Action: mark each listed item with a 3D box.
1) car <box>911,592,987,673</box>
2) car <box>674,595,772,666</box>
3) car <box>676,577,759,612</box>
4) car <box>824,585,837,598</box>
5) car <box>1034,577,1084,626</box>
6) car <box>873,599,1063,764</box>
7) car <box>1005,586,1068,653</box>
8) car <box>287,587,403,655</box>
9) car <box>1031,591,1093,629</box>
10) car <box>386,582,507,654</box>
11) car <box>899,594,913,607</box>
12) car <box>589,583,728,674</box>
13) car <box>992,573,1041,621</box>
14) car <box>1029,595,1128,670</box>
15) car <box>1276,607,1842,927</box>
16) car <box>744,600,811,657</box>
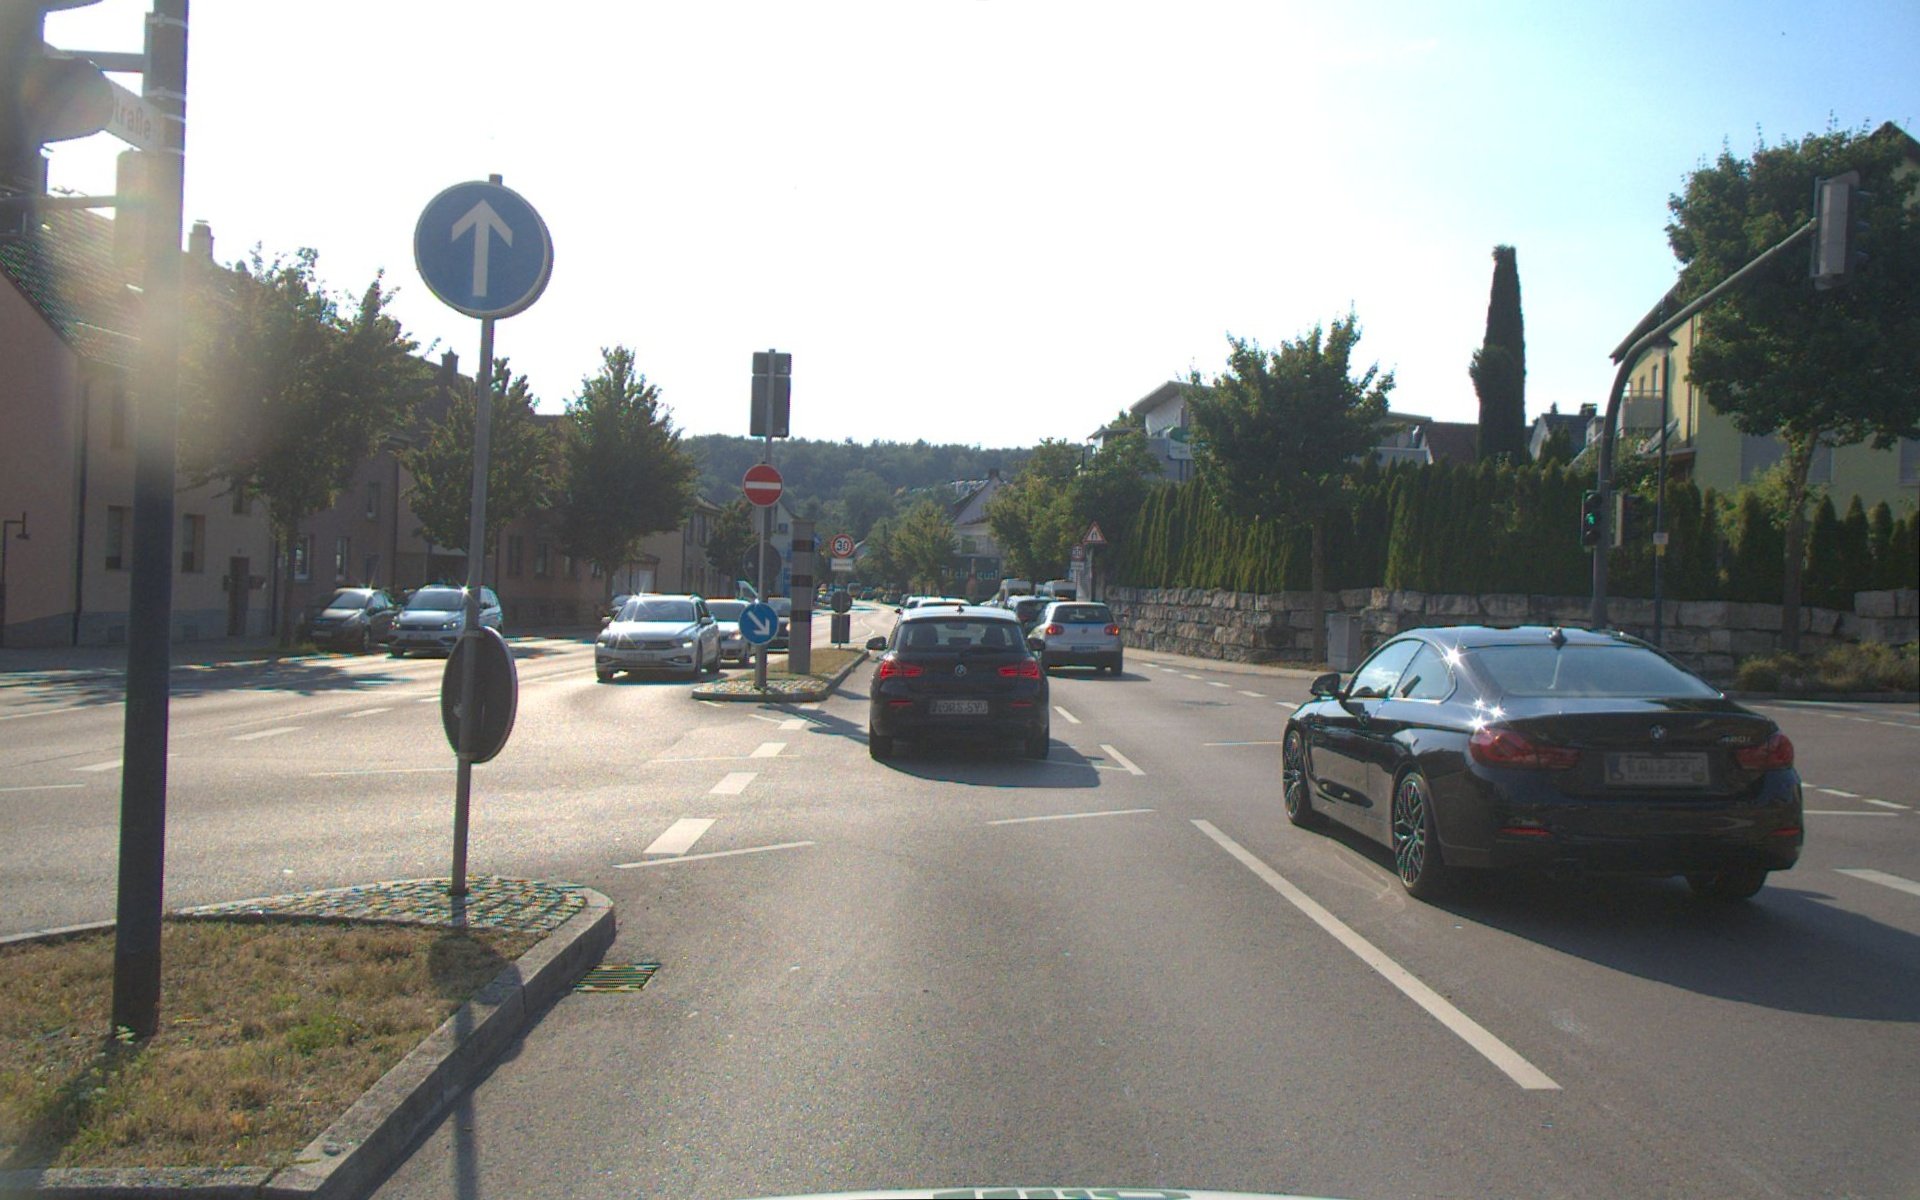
[{"bbox_3d":[-0.279,0.669,36.409,1.559,1.628,3.892,1,1,-2],"label":"car"},{"bbox_3d":[-5.135,0.639,36.154,1.556,1.452,3.578,1,0,1],"label":"car"},{"bbox_3d":[-18.628,-0.403,127.204,6.036,2.487,2.248,2,0,-3],"label":"car"},{"bbox_3d":[-16.131,-1.054,205.878,1.565,1.511,3.472,2,0,-4],"label":"car"},{"bbox_3d":[5.851,0.062,98.289,2.070,2.769,6.437,1,1,-5],"label":"car"},{"bbox_3d":[0.016,0.743,16.881,1.736,1.482,3.514,0,0,-2],"label":"car"},{"bbox_3d":[2.133,0.511,46.741,1.570,1.798,3.410,1,0,-1],"label":"car"},{"bbox_3d":[-15.254,0.474,41.203,1.482,1.537,3.884,3,0,-2],"label":"car"},{"bbox_3d":[4.674,0.428,76.411,1.801,1.678,4.527,1,0,-10],"label":"car"},{"bbox_3d":[-12.485,0.407,40.474,1.651,1.640,4.412,1,0,-2],"label":"car"},{"bbox_3d":[-6.346,0.031,193.937,1.565,1.511,3.472,2,0,-4],"label":"car"},{"bbox_3d":[-5.405,0.451,30.221,1.798,1.514,4.565,1,1,-2],"label":"car"},{"bbox_3d":[3.297,-0.209,98.009,2.107,2.727,6.597,1,1,-4],"label":"car"},{"bbox_3d":[2.425,0.639,34.638,1.718,1.438,3.420,1,1,-2],"label":"car"},{"bbox_3d":[3.155,0.771,9.702,1.665,1.393,4.261,0,1,-2],"label":"car"},{"bbox_3d":[-5.110,0.780,46.646,1.501,1.487,3.506,1,1,0],"label":"car"}]
